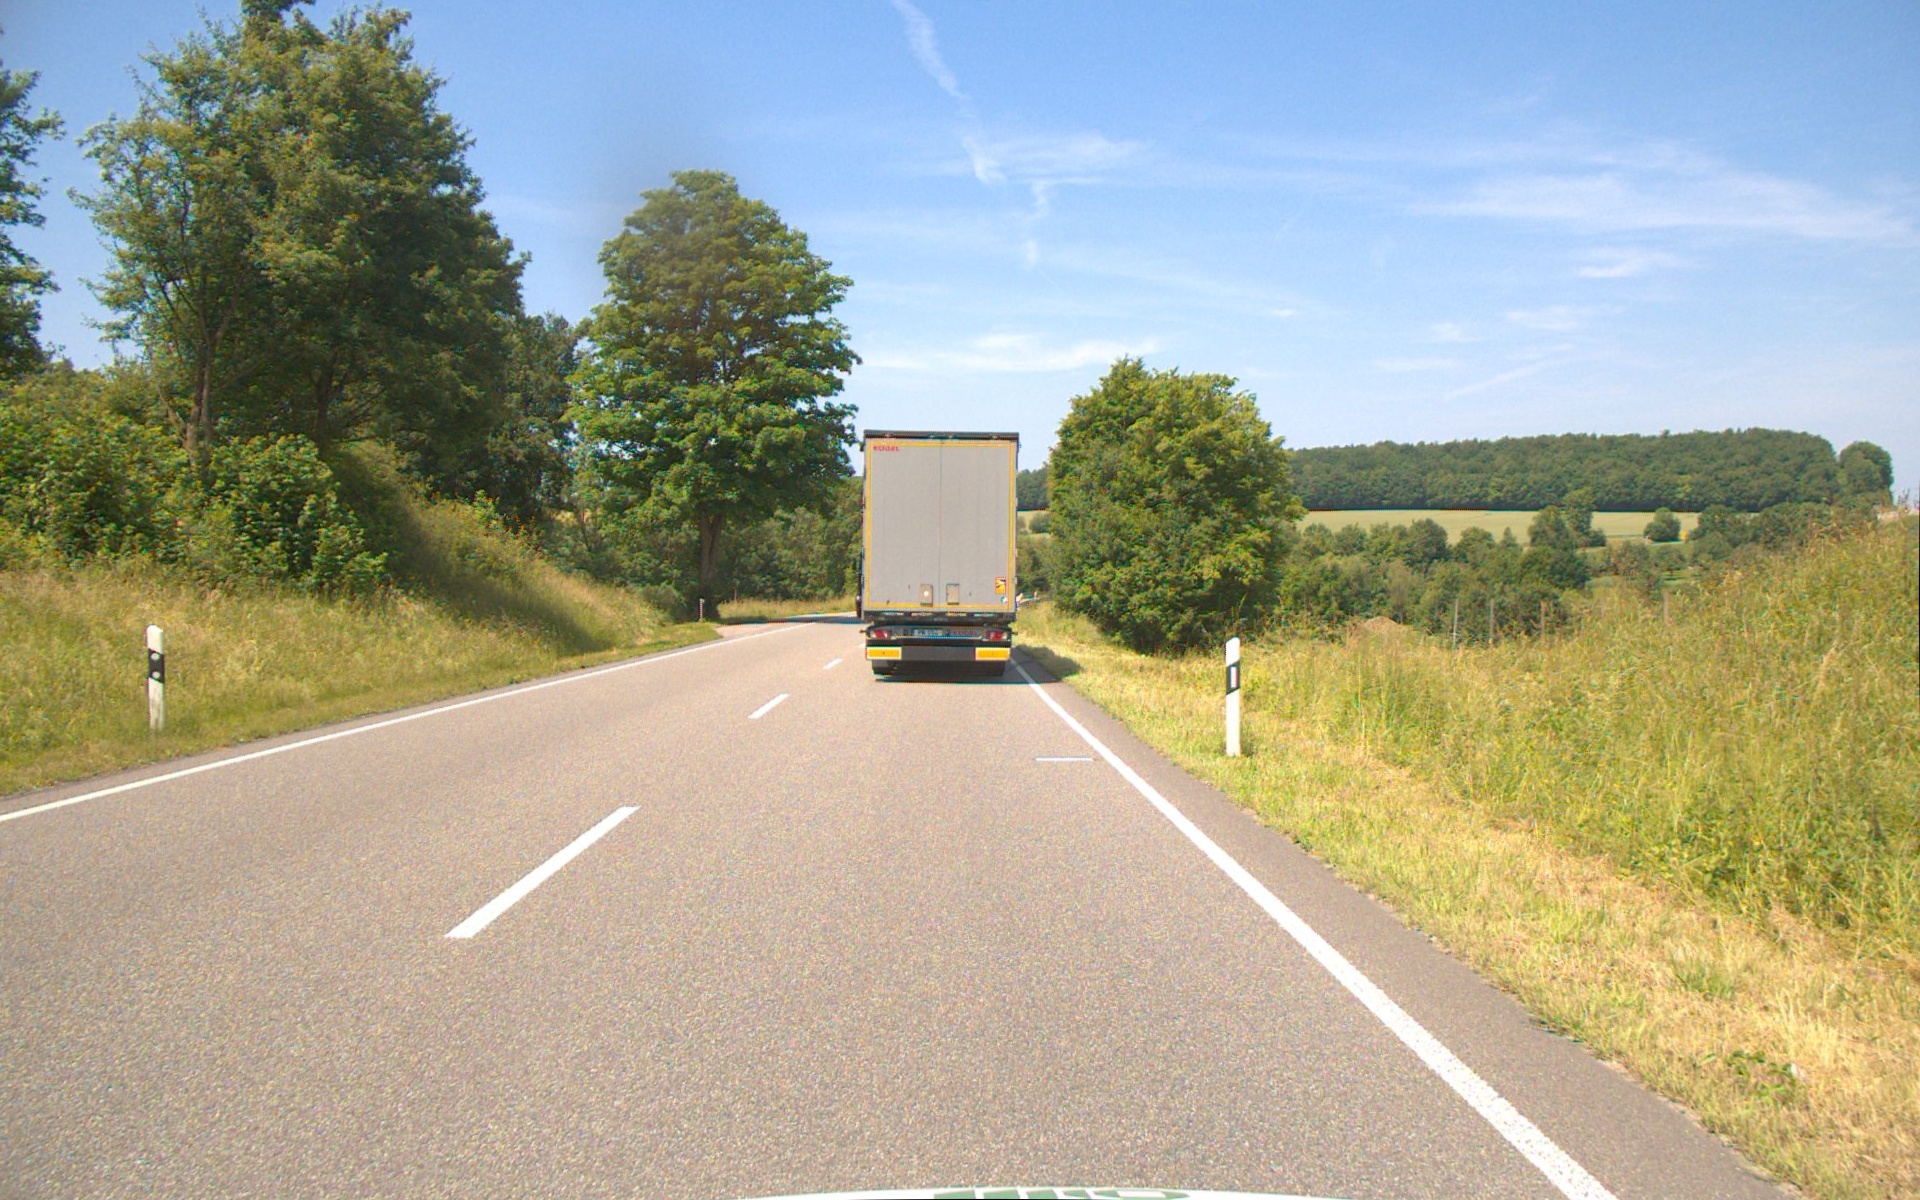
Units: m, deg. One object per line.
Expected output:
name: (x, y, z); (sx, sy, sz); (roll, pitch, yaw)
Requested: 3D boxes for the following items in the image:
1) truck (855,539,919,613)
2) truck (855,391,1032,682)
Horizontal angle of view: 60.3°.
truck: (-3.666, -1.182, 84.815); (2.477, 3.622, 7.765); (0, 0, 4)
truck: (-0.368, -1.067, 32.313); (2.760, 4.611, 11.765); (1, 1, -1)
